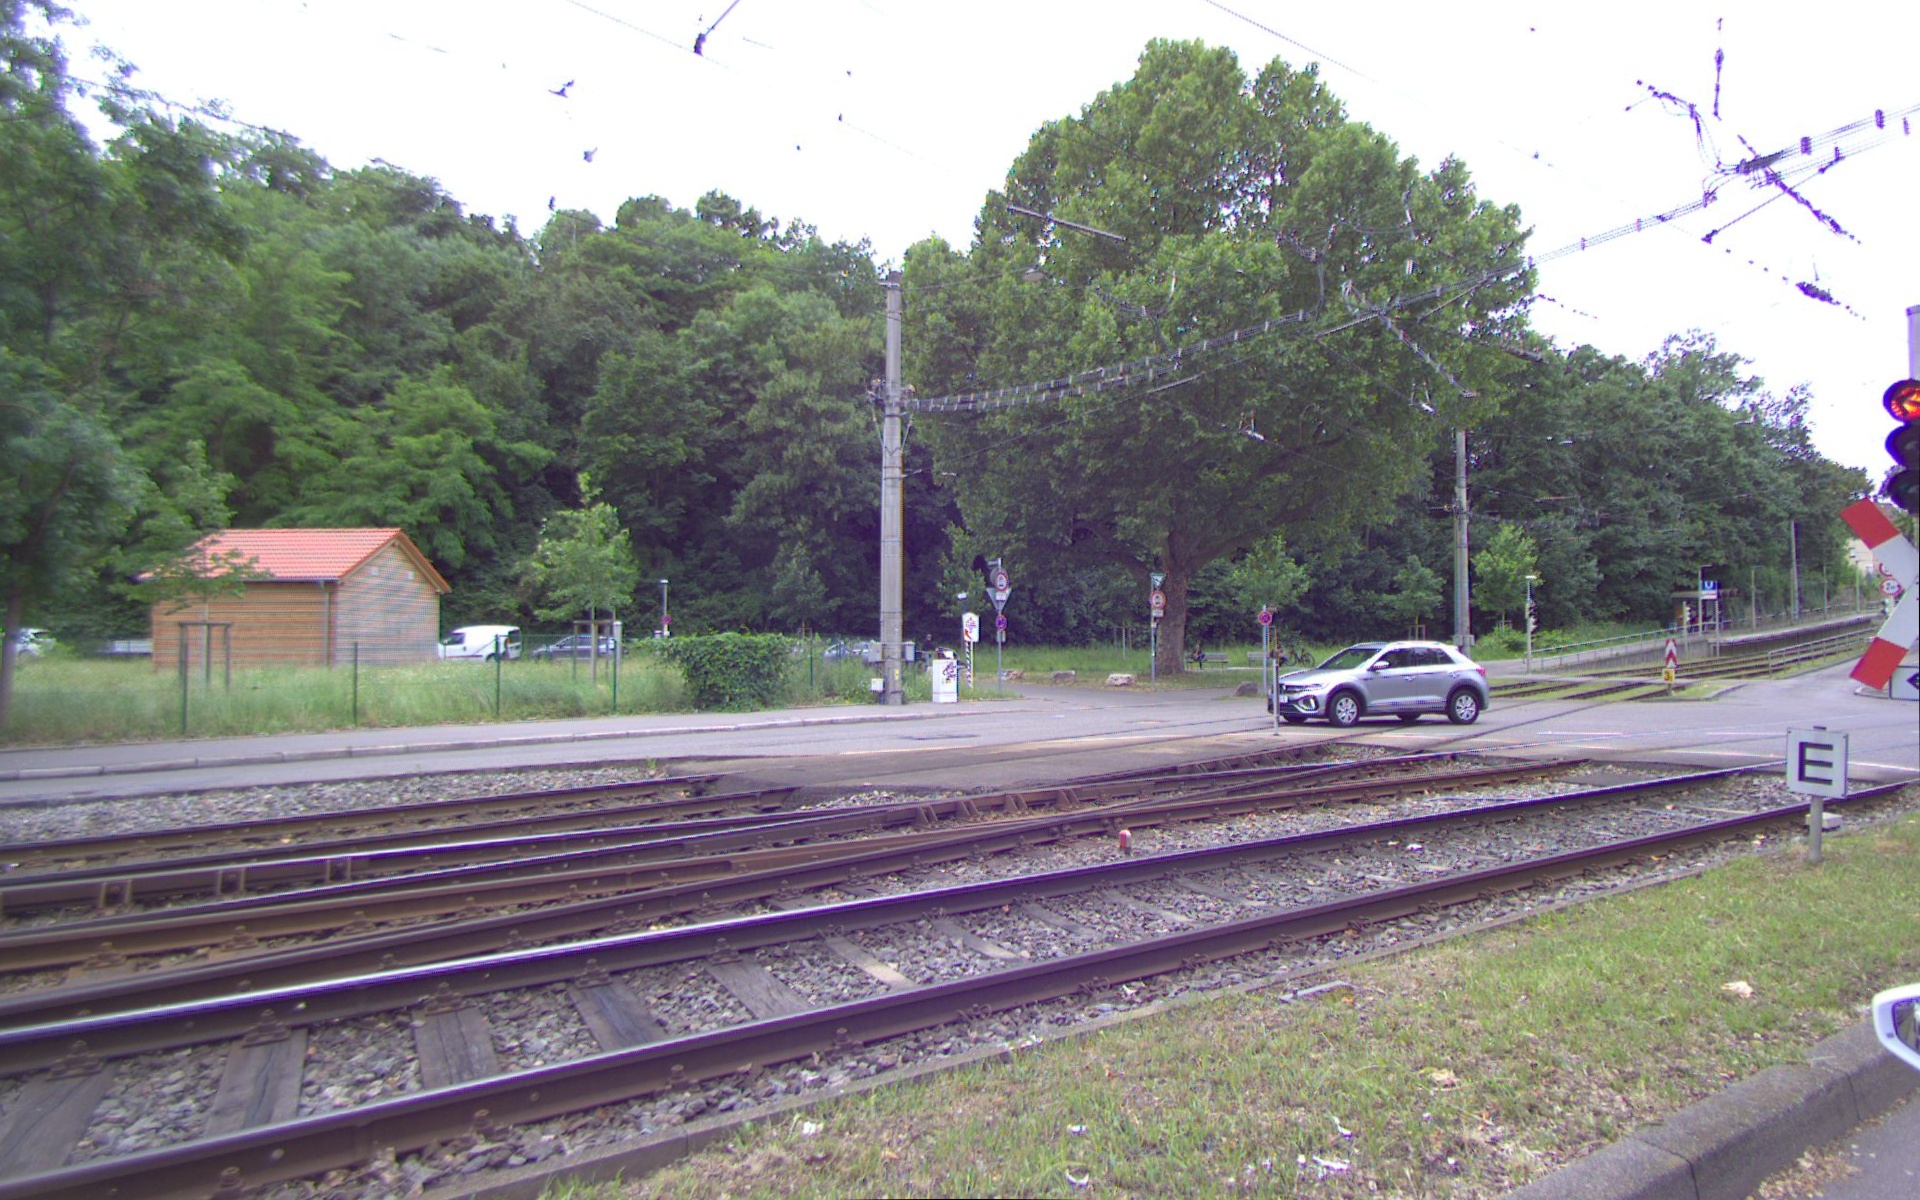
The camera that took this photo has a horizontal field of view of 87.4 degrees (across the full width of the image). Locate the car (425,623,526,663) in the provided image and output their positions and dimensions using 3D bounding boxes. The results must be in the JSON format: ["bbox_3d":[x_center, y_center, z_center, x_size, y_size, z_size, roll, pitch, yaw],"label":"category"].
[{"bbox_3d":[-21.909,1.932,45.526,3.610,1.634,1.909,2,0,-3],"label":"car"}]

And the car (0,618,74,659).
[{"bbox_3d":[-41.788,1.683,44.362,3.612,1.634,1.756,2,0,-6],"label":"car"}]

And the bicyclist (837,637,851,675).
[{"bbox_3d":[-5.192,2.505,45.058,0.612,1.697,0.474,0,2,-8],"label":"bicyclist"}]

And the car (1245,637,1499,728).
[{"bbox_3d":[7.846,1.524,19.291,4.105,1.599,1.996,0,-3,-12],"label":"car"}]

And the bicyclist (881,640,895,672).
[{"bbox_3d":[-3.070,2.378,42.822,0.446,1.319,0.581,-2,2,5],"label":"bicyclist"}]

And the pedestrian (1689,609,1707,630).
[{"bbox_3d":[49.029,1.284,66.737,0.780,1.344,0.766,-1,2,-37],"label":"pedestrian"}]

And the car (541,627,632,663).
[{"bbox_3d":[-16.862,2.034,45.470,3.436,1.443,1.700,2,0,-3],"label":"car"}]

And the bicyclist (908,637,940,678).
[{"bbox_3d":[-1.591,2.552,44.815,1.270,1.734,0.733,-2,2,-13],"label":"bicyclist"}]

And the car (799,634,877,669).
[{"bbox_3d":[-5.655,2.381,46.851,3.436,1.443,1.700,2,0,-3],"label":"car"}]

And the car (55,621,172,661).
[{"bbox_3d":[-37.595,1.812,44.683,3.610,1.634,1.757,2,0,-3],"label":"car"}]

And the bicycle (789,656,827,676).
[{"bbox_3d":[-6.667,2.889,44.018,1.624,0.749,0.454,-1,2,-13],"label":"bicycle"}]

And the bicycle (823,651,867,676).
[{"bbox_3d":[-5.161,2.827,45.076,1.909,1.055,0.474,0,1,-8],"label":"bicycle"}]

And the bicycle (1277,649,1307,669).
[{"bbox_3d":[16.304,2.882,49.395,0.611,0.897,1.743,2,0,-10],"label":"bicycle"}]

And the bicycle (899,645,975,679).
[{"bbox_3d":[-1.024,2.764,44.951,3.289,1.307,0.733,-2,2,-13],"label":"bicycle"}]

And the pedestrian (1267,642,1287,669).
[{"bbox_3d":[15.398,2.681,48.794,0.662,1.251,0.578,2,0,-16],"label":"pedestrian"}]

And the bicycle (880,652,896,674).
[{"bbox_3d":[-3.060,2.681,42.810,0.446,0.749,1.559,-2,2,5],"label":"bicycle"}]

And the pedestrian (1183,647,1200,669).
[{"bbox_3d":[11.130,2.799,48.343,0.610,1.003,0.530,2,0,-15],"label":"pedestrian"}]

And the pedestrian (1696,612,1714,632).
[{"bbox_3d":[50.010,1.475,67.427,0.780,1.344,0.766,2,0,-38],"label":"pedestrian"}]
